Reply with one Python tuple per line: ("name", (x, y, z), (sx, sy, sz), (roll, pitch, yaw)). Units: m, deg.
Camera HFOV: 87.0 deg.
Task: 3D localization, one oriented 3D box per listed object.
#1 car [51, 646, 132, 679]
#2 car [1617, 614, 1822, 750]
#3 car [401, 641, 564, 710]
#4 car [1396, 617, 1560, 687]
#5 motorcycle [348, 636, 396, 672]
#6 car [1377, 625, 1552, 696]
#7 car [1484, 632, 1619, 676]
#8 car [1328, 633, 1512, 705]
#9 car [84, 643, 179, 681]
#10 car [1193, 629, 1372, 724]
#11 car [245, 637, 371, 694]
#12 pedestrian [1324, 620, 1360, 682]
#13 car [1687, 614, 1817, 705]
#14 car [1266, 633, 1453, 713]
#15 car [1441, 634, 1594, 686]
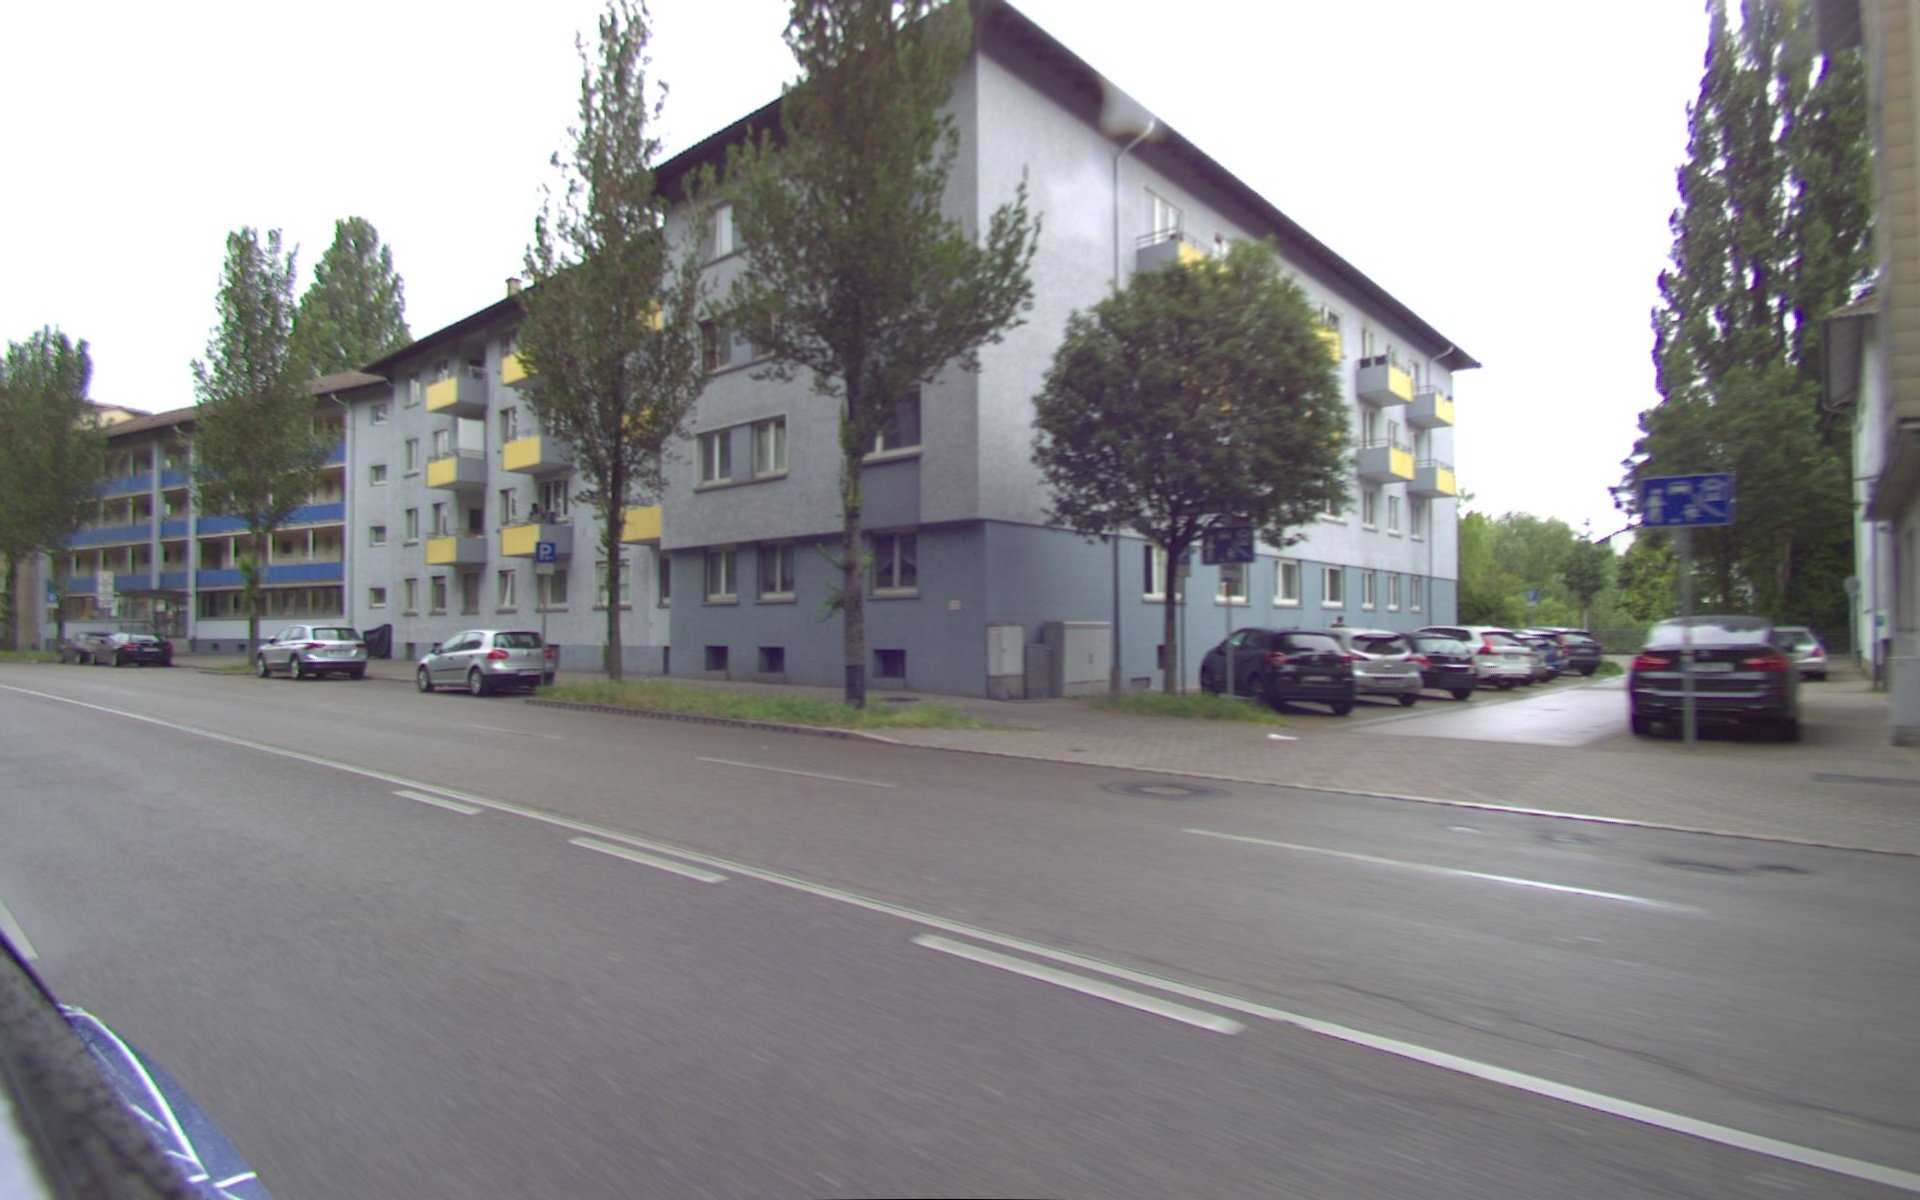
("car", (-38.756, 2.774, 45.126), (4.079, 1.414, 1.764), (-2, -4, 35))
("car", (10.674, 1.053, 14.113), (1.925, 1.591, 4.105), (-3, -3, 41))
("car", (-11.121, 1.678, 23.490), (4.199, 1.464, 1.708), (-2, -3, 38))
("car", (14.976, 1.491, 29.499), (1.655, 1.896, 4.013), (1, -2, -27))
("motorcycle", (-24.682, 2.255, 42.495), (2.226, 1.424, 0.671), (-2, 0, 29))
("car", (13.468, 1.582, 27.287), (1.789, 1.737, 4.013), (0, -2, -21))
("car", (21.145, 1.905, 36.353), (1.662, 1.494, 4.012), (0, -2, -19))
("car", (10.494, 1.537, 23.444), (1.845, 1.505, 4.009), (0, -2, -11))
("car", (-34.136, 2.541, 41.664), (4.883, 1.450, 1.804), (-2, -4, 36))
("car", (5.744, 1.328, 18.553), (1.687, 1.505, 4.004), (1, -2, -5))
("car", (-19.709, 1.940, 30.527), (4.526, 1.616, 1.747), (-2, -3, 37))
("pedestrian", (11.529, 1.541, 30.522), (0.749, 1.830, 0.754), (-2, -3, 43))
("car", (15.981, 1.163, 20.344), (1.710, 1.644, 3.944), (-4, -4, 42))
("car", (8.205, 1.452, 21.217), (1.765, 1.505, 4.009), (1, -2, -11))
("car", (17.054, 1.802, 31.179), (1.662, 1.494, 4.012), (0, -2, -19))
